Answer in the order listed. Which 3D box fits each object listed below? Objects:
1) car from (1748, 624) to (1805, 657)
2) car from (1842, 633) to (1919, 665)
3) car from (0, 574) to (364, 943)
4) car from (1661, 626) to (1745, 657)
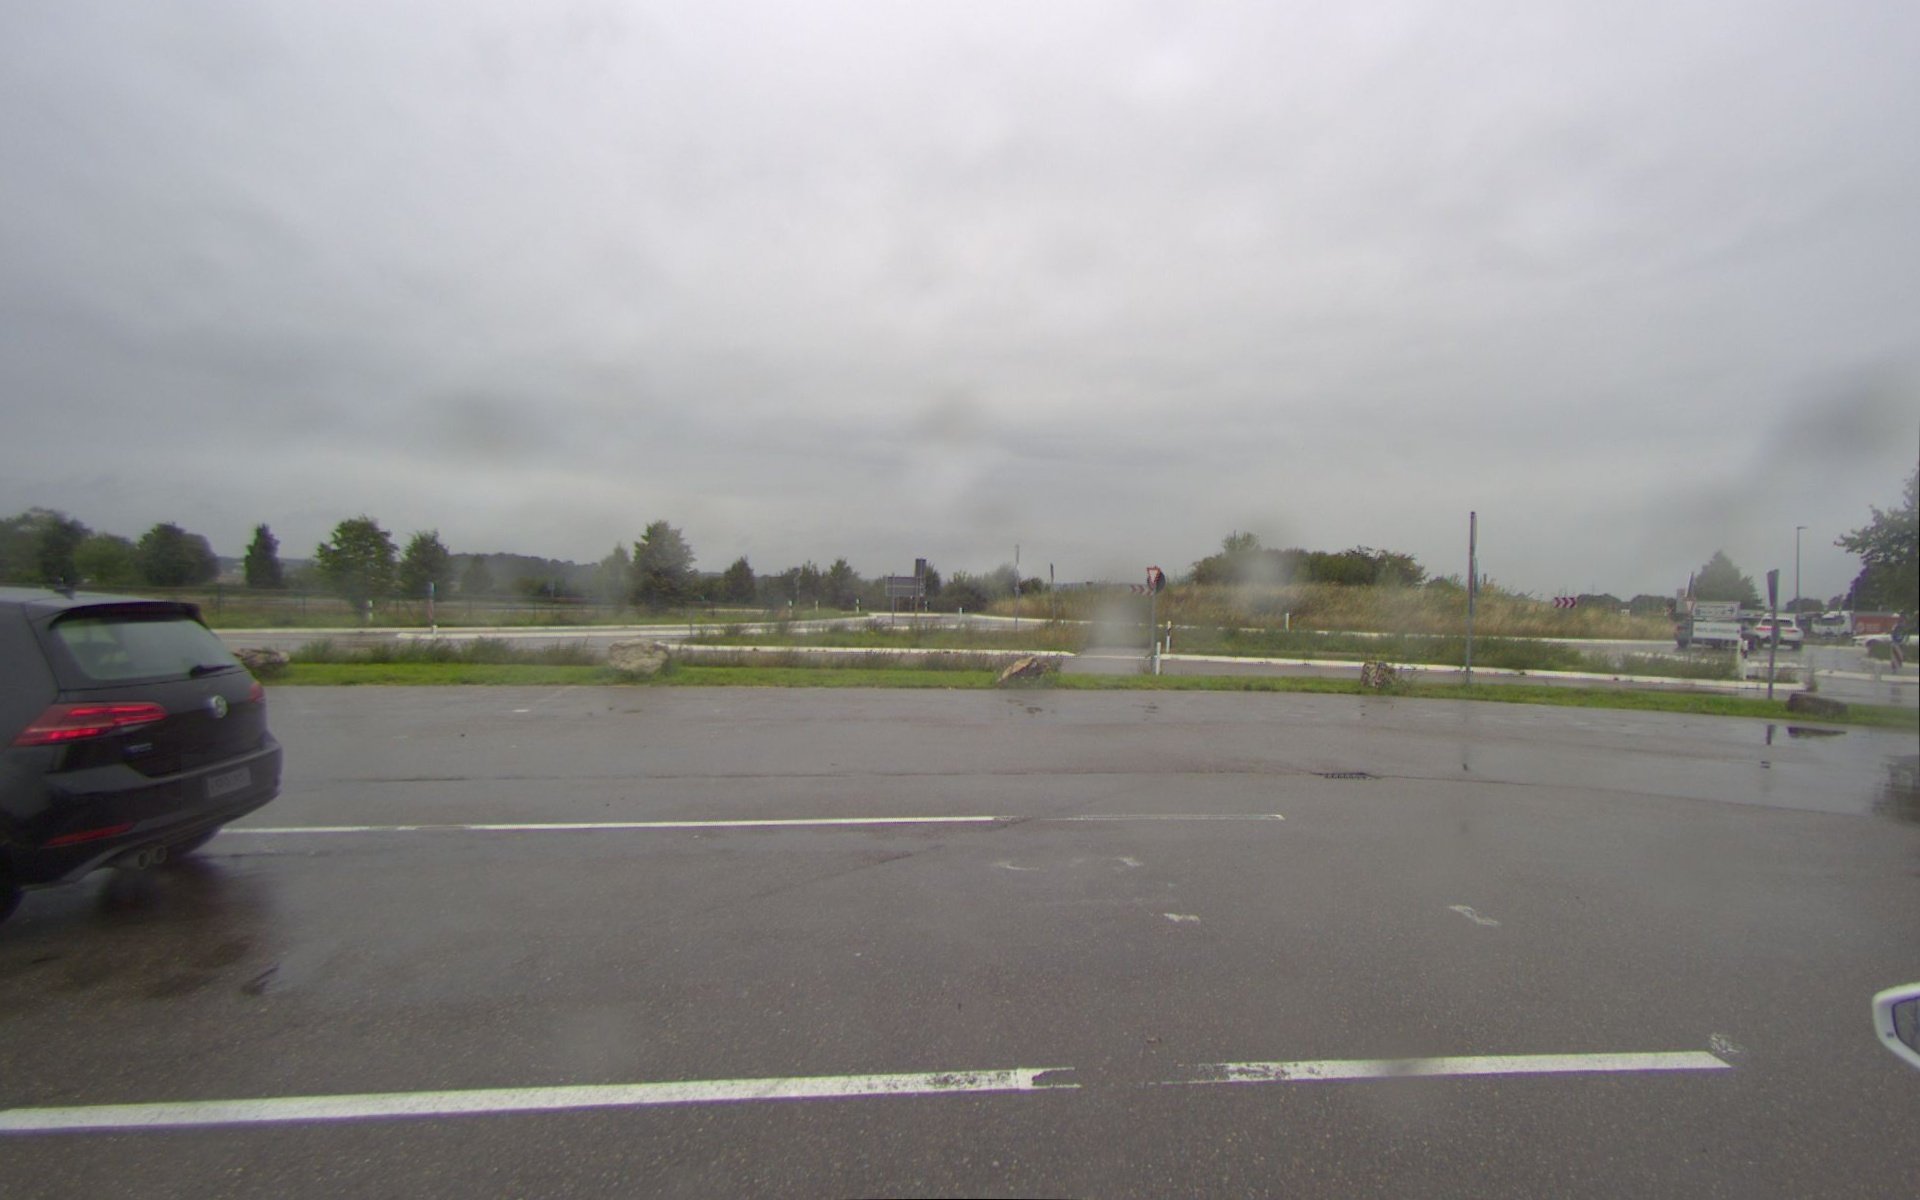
[{"bbox_3d":[42.710,2.088,52.505,4.353,1.605,1.673,1,0,-42],"label":"car"},{"bbox_3d":[57.871,3.036,62.372,4.280,1.782,1.749,2,0,20],"label":"car"},{"bbox_3d":[-5.290,0.595,4.588,4.004,1.452,1.777,1,0,-9],"label":"car"},{"bbox_3d":[35.008,1.937,47.326,3.994,1.343,1.681,1,0,-29],"label":"car"}]
